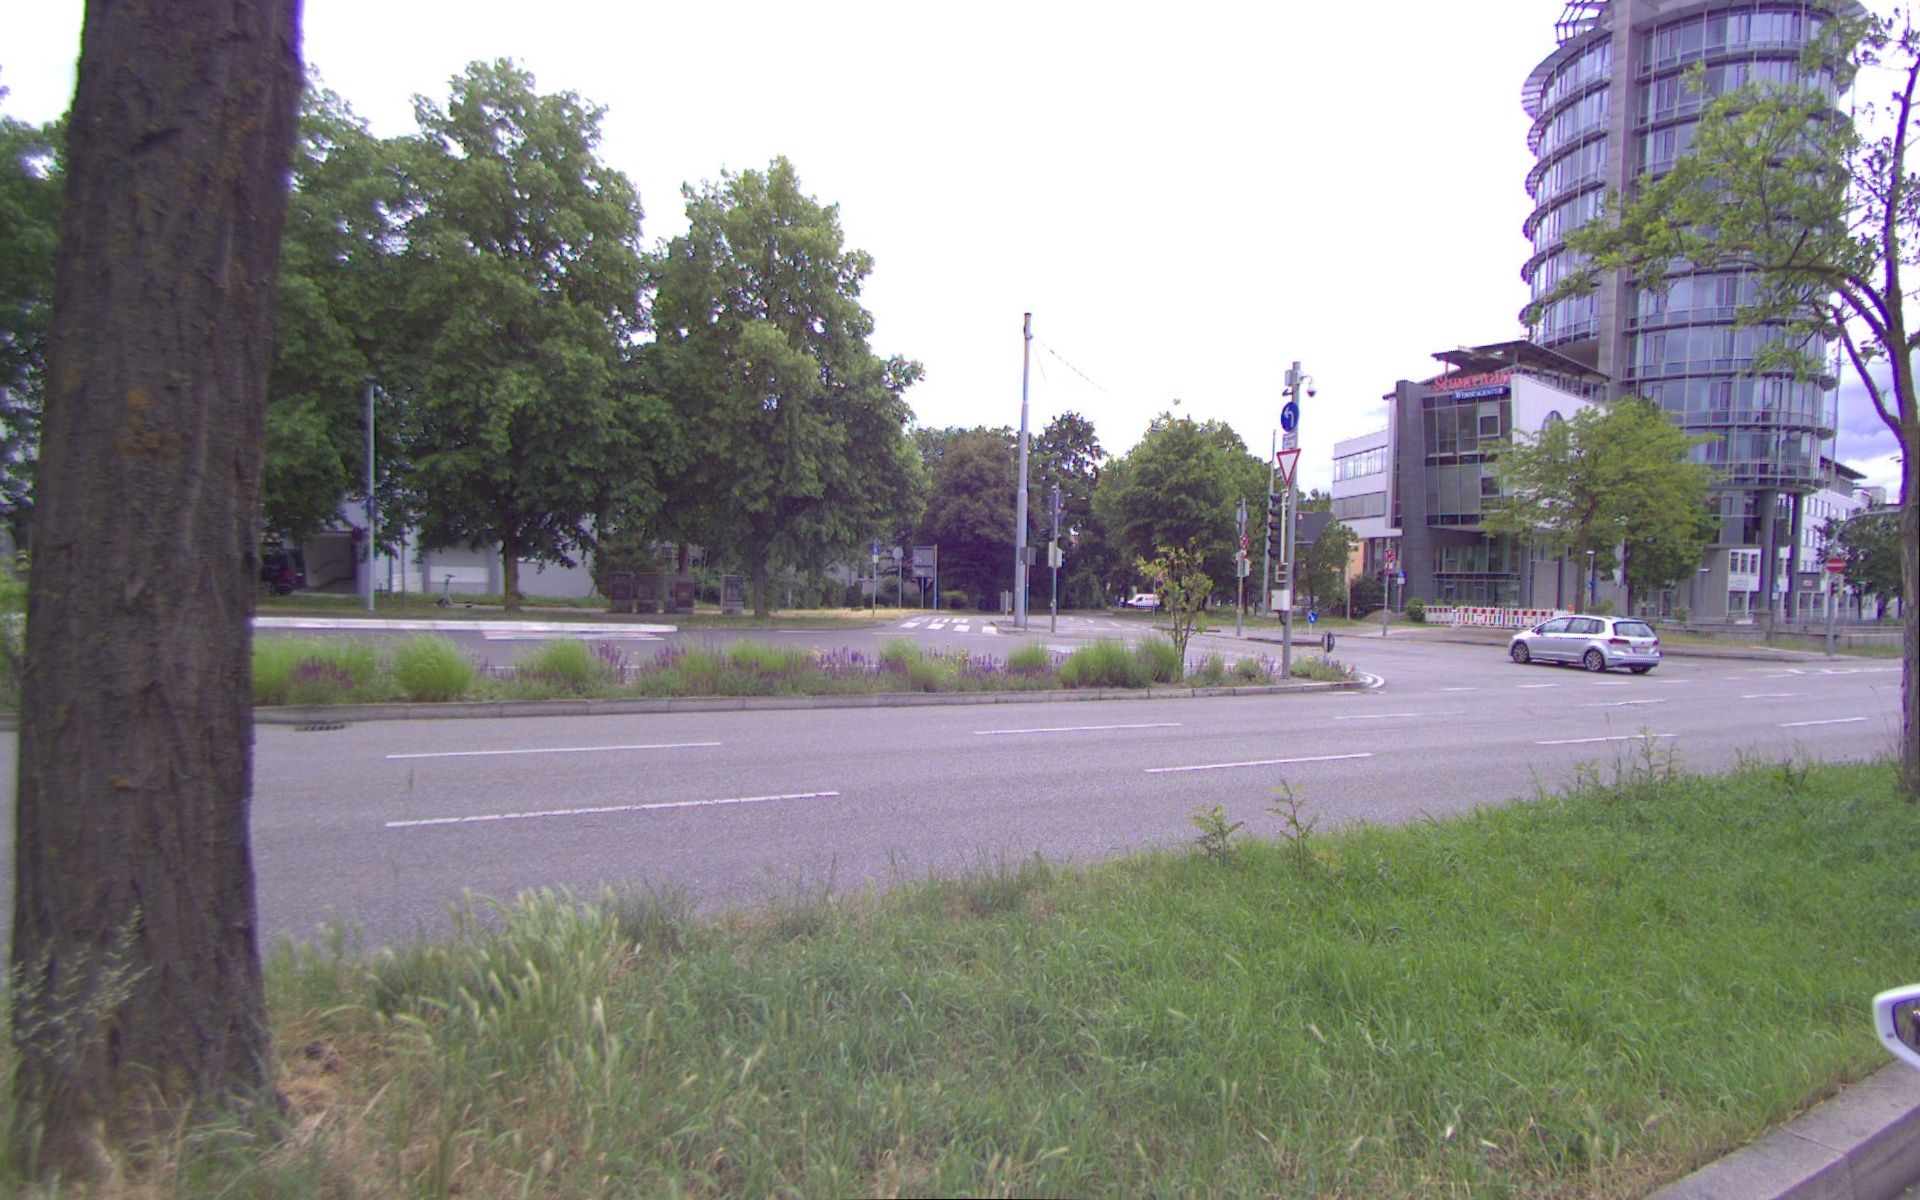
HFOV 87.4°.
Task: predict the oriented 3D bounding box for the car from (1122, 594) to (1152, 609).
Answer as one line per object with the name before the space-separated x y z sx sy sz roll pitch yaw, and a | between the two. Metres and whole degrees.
car | 29.999 0.251 170.320 4.475 2.370 1.994 2 0 -15

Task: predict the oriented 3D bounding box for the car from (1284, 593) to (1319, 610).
car | 18.682 0.090 54.989 1.684 0.888 0.776 2 1 8

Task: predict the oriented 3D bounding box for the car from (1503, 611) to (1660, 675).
car | 17.949 1.191 29.239 1.528 1.590 3.990 2 1 -12

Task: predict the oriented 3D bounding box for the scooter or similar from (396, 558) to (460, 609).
scooter or similar | -18.414 -0.554 34.802 1.834 1.686 0.645 1 1 -42

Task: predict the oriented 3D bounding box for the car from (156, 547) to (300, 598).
car | -29.798 -1.107 41.009 4.345 1.872 1.782 2 1 -15
